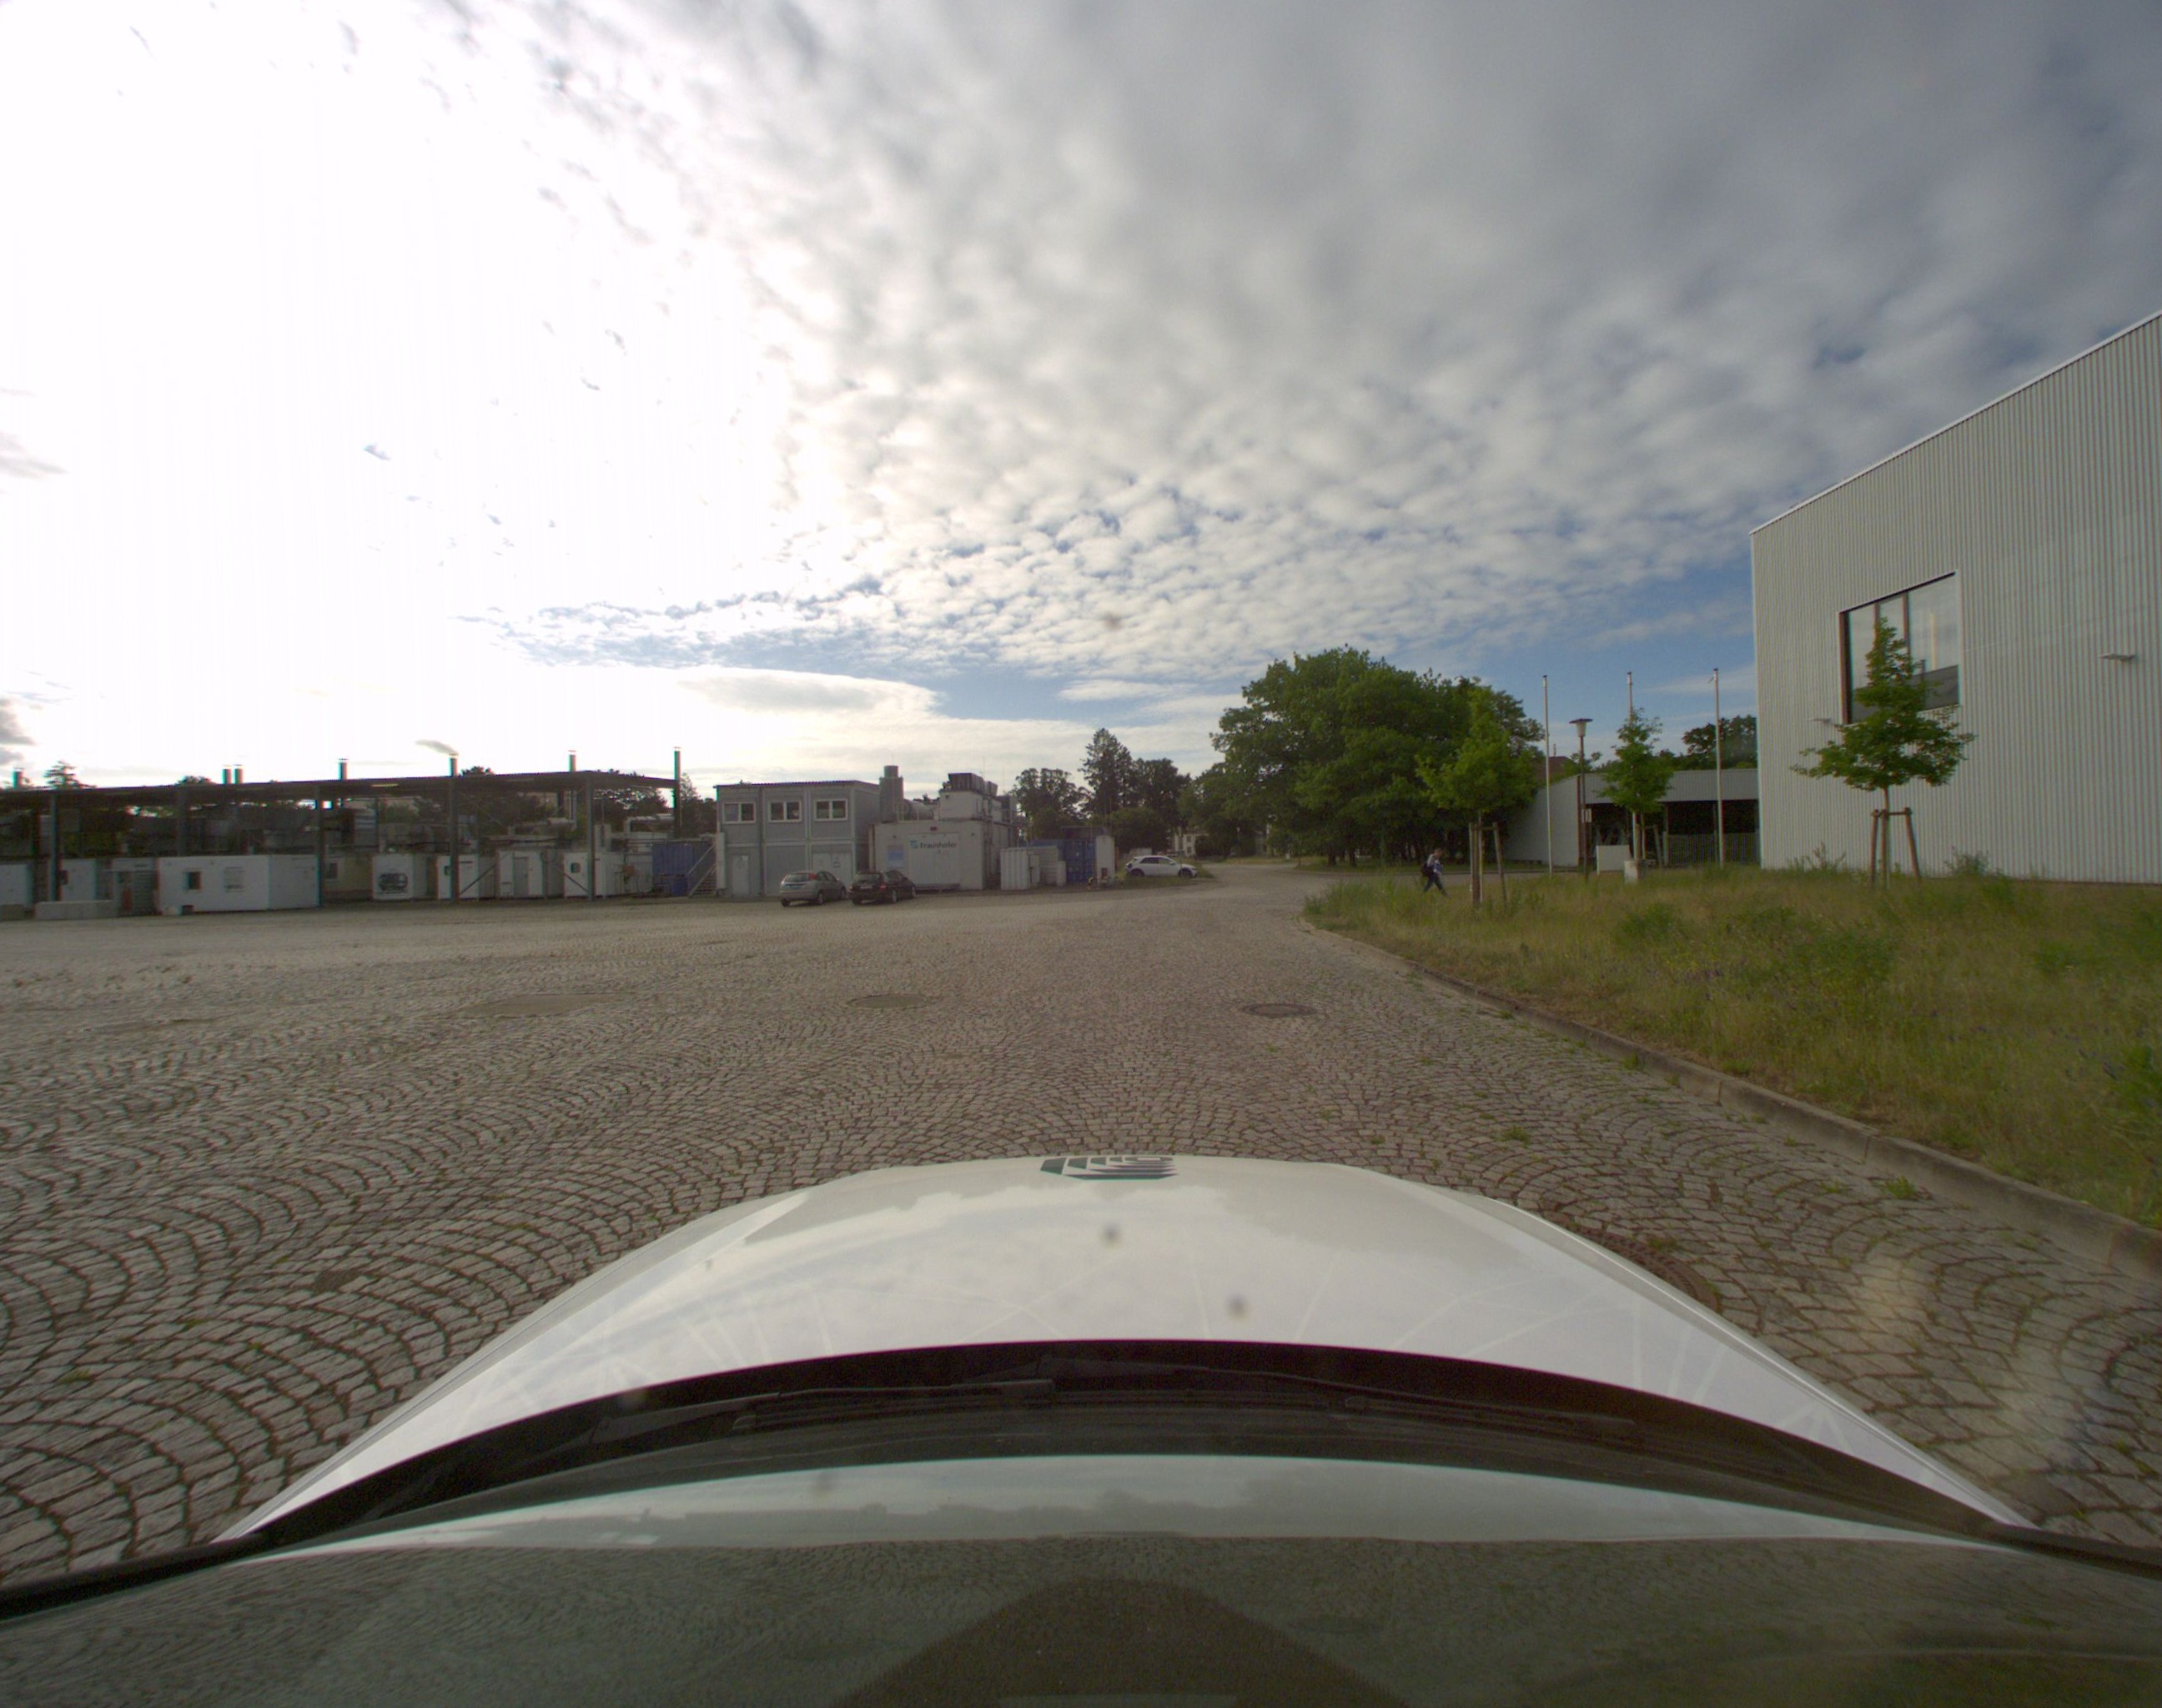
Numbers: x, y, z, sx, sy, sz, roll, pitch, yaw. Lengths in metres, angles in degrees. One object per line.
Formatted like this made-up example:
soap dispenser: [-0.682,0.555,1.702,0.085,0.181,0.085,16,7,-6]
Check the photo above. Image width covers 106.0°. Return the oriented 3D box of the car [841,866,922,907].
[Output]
car: [-8.605,1.355,35.549,2.027,1.453,4.536,-2,1,5]

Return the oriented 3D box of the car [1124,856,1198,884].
car: [5.094,0.978,51.606,4.509,1.599,2.004,-2,-1,7]

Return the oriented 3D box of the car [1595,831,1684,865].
car: [35.555,-0.357,52.040,2.231,2.014,5.342,-2,-1,4]

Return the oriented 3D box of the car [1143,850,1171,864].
car: [14.240,0.567,152.935,5.146,2.337,2.002,-2,-1,4]

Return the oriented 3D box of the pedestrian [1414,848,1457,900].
pedestrian: [10.889,0.612,25.000,1.065,1.556,1.081,-2,-1,29]

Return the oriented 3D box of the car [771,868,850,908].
car: [-11.848,1.461,35.979,1.898,1.476,4.050,-2,1,3]
